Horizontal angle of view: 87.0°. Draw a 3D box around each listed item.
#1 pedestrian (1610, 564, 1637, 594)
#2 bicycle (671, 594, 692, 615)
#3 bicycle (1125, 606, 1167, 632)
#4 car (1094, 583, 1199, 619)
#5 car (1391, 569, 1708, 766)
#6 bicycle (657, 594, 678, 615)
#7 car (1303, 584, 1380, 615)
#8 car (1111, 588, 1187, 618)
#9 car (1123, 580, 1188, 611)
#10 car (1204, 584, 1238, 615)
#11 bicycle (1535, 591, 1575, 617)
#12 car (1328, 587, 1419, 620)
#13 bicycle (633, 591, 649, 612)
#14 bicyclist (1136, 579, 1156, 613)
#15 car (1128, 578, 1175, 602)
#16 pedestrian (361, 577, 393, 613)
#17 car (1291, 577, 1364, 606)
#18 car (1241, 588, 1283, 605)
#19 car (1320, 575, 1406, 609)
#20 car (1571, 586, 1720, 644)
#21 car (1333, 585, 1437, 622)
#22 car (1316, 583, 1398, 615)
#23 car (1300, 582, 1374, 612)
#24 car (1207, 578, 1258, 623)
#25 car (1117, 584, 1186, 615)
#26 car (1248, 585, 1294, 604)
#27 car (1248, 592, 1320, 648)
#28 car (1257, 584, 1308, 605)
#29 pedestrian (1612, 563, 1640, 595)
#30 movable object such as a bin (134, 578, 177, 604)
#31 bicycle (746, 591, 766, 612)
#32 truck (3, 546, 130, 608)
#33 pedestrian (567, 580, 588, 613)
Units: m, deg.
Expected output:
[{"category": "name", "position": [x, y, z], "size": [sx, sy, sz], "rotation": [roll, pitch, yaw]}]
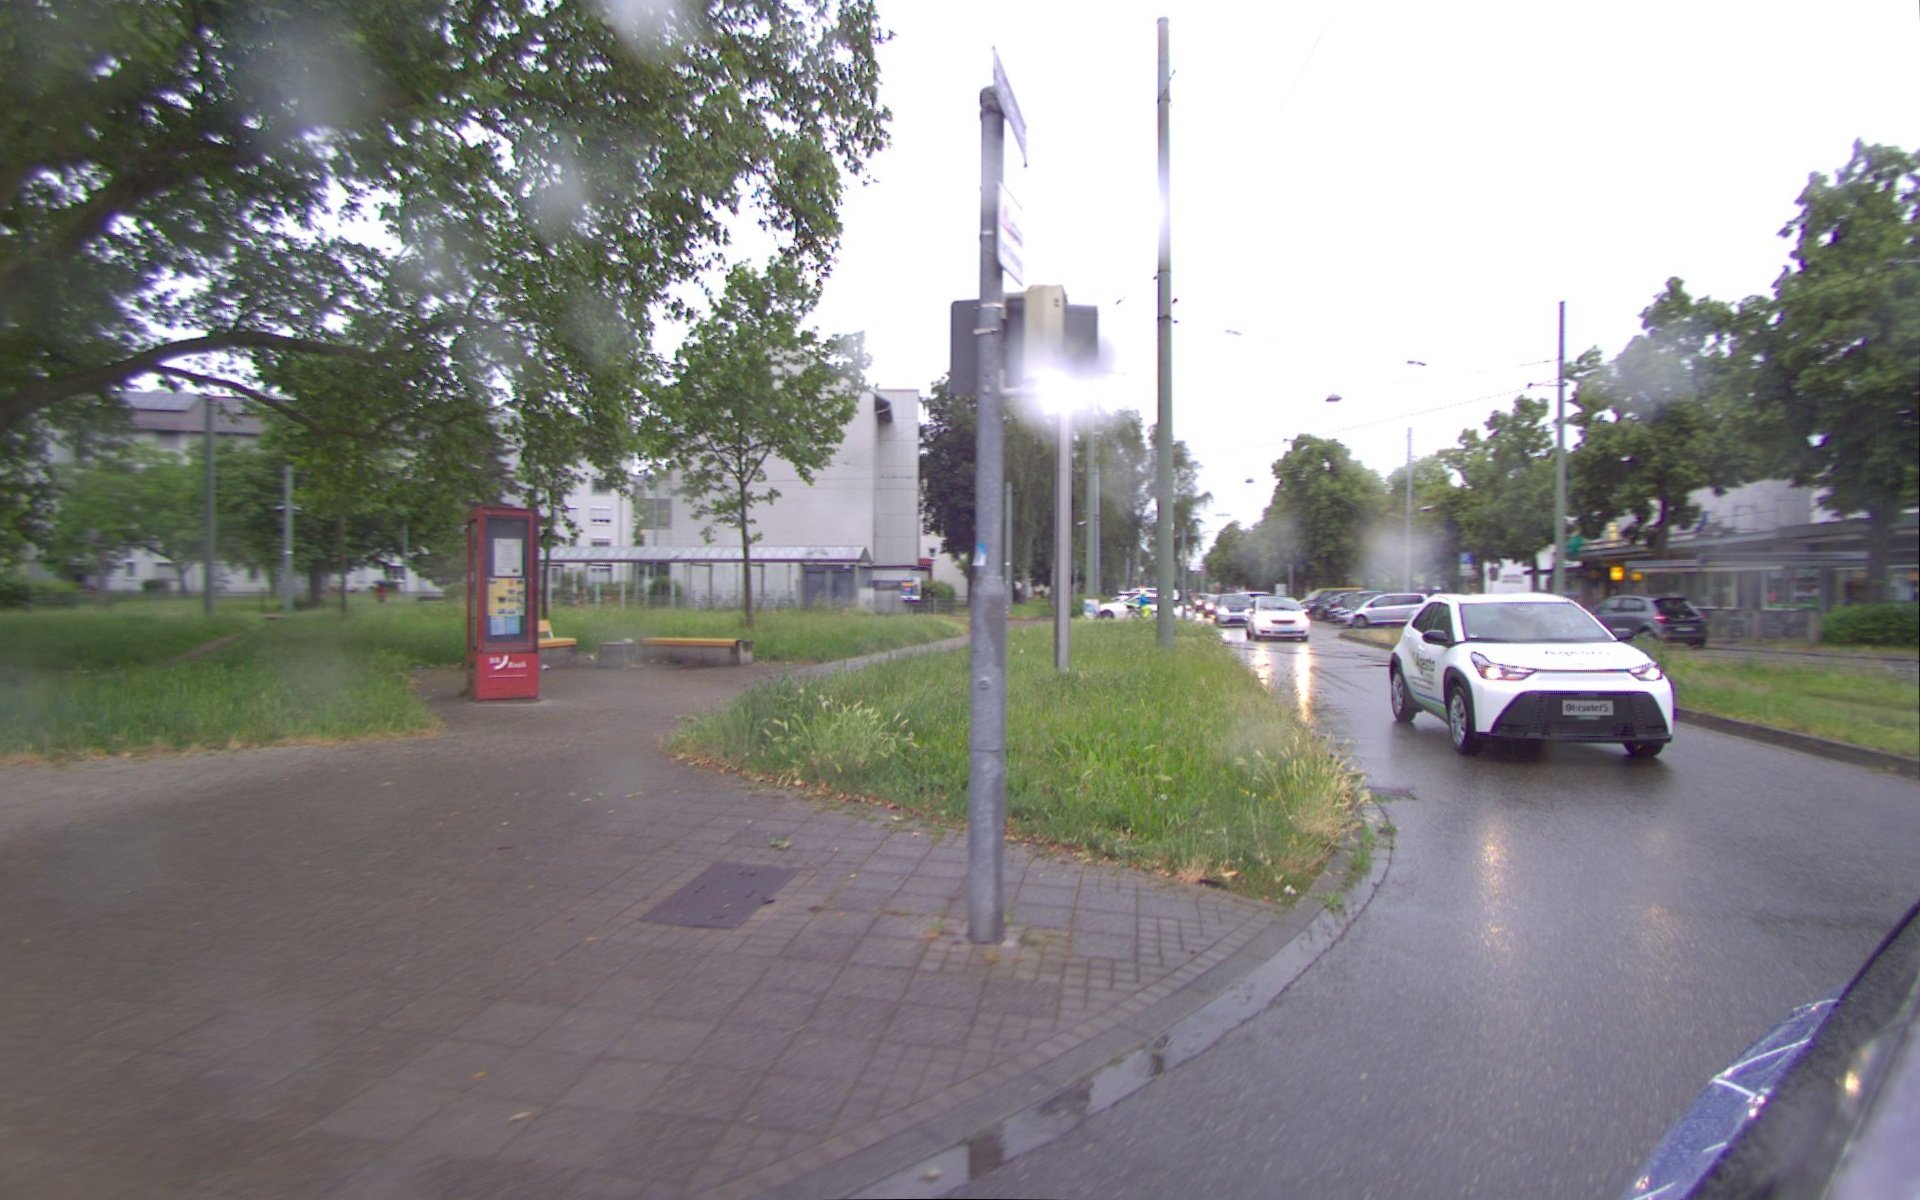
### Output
[{"category": "pedestrian", "position": [36.395, -1.150, 55.558], "size": [1.068, 1.603, 0.941], "rotation": [1, 1, 23]}, {"category": "bicycle", "position": [-13.142, 0.199, 47.806], "size": [0.372, 0.959, 1.232], "rotation": [-2, 0, 14]}, {"category": "bicycle", "position": [8.385, 0.858, 45.647], "size": [1.718, 1.144, 0.729], "rotation": [0, -1, -6]}, {"category": "car", "position": [8.881, 0.033, 48.110], "size": [4.769, 1.476, 1.992], "rotation": [2, 0, 13]}, {"category": "car", "position": [5.779, 0.614, 10.464], "size": [1.694, 1.644, 3.700], "rotation": [0, -2, 12]}, {"category": "bicycle", "position": [-13.873, 0.221, 48.012], "size": [0.372, 0.959, 1.232], "rotation": [-2, 0, 14]}, {"category": "car", "position": [22.932, -0.021, 60.963], "size": [4.026, 1.731, 1.893], "rotation": [-1, 0, 11]}, {"category": "car", "position": [10.167, 0.161, 54.385], "size": [3.940, 1.505, 1.716], "rotation": [-2, 0, 14]}, {"category": "car", "position": [13.776, -0.322, 71.602], "size": [4.372, 2.088, 1.718], "rotation": [-2, 0, 9]}, {"category": "car", "position": [17.845, -0.064, 69.280], "size": [1.969, 2.039, 3.986], "rotation": [-2, 0, 12]}, {"category": "bicycle", "position": [26.319, 0.163, 44.813], "size": [0.582, 1.086, 1.753], "rotation": [1, 0, -6]}, {"category": "car", "position": [21.507, 0.173, 52.842], "size": [4.026, 1.591, 1.994], "rotation": [-1, 0, 11]}, {"category": "bicycle", "position": [-15.256, 0.069, 48.388], "size": [0.409, 0.959, 1.309], "rotation": [-2, 0, -4]}, {"category": "bicyclist", "position": [8.384, -0.188, 45.662], "size": [0.684, 1.536, 0.726], "rotation": [0, -1, -7]}, {"category": "car", "position": [18.490, -0.967, 97.806], "size": [4.372, 2.088, 1.718], "rotation": [-2, 0, 9]}, {"category": "pedestrian", "position": [-31.694, -0.262, 55.047], "size": [1.049, 1.907, 1.173], "rotation": [-2, 0, 40]}, {"category": "car", "position": [24.183, -0.531, 66.710], "size": [4.237, 1.832, 1.893], "rotation": [-1, 0, 11]}, {"category": "car", "position": [34.997, -0.408, 117.478], "size": [4.478, 1.968, 1.892], "rotation": [-1, 0, 12]}, {"category": "car", "position": [21.910, -0.424, 55.191], "size": [4.026, 1.731, 1.893], "rotation": [-1, 0, 11]}, {"category": "car", "position": [19.643, 0.406, 29.177], "size": [1.521, 1.522, 3.627], "rotation": [-2, 0, -6]}, {"category": "car", "position": [20.332, 0.163, 48.587], "size": [4.269, 1.695, 1.994], "rotation": [-1, 0, 11]}, {"category": "car", "position": [22.621, -0.048, 57.820], "size": [4.026, 1.731, 1.893], "rotation": [-1, 0, 11]}, {"category": "car", "position": [25.856, -0.190, 69.546], "size": [4.477, 1.968, 1.893], "rotation": [-1, 0, 11]}, {"category": "car", "position": [12.974, 0.000, 48.385], "size": [1.968, 2.039, 3.988], "rotation": [-2, 0, 10]}, {"category": "car", "position": [12.597, -0.026, 66.510], "size": [4.378, 1.869, 1.716], "rotation": [-2, 0, 14]}, {"category": "car", "position": [33.607, -0.633, 109.481], "size": [4.477, 1.968, 1.893], "rotation": [-1, 0, 11]}, {"category": "car", "position": [10.422, 0.599, 32.784], "size": [1.935, 1.572, 3.984], "rotation": [0, 2, 14]}, {"category": "car", "position": [31.786, -0.533, 99.806], "size": [4.477, 1.968, 1.893], "rotation": [-1, 0, 11]}, {"category": "pedestrian", "position": [35.920, -1.134, 54.578], "size": [1.068, 1.735, 0.941], "rotation": [0, 1, 23]}, {"category": "movable object such as a bin", "position": [-64.565, -0.704, 81.265], "size": [1.864, 2.039, 2.242], "rotation": [-2, 0, -14]}, {"category": "bicycle", "position": [-9.353, 0.061, 46.509], "size": [0.372, 0.968, 1.232], "rotation": [-2, 0, 14]}, {"category": "truck", "position": [-56.035, -1.396, 63.491], "size": [7.063, 3.517, 3.179], "rotation": [-2, 0, 22]}, {"category": "pedestrian", "position": [-18.815, -0.173, 49.752], "size": [0.626, 1.592, 0.787], "rotation": [-2, 0, 11]}]
